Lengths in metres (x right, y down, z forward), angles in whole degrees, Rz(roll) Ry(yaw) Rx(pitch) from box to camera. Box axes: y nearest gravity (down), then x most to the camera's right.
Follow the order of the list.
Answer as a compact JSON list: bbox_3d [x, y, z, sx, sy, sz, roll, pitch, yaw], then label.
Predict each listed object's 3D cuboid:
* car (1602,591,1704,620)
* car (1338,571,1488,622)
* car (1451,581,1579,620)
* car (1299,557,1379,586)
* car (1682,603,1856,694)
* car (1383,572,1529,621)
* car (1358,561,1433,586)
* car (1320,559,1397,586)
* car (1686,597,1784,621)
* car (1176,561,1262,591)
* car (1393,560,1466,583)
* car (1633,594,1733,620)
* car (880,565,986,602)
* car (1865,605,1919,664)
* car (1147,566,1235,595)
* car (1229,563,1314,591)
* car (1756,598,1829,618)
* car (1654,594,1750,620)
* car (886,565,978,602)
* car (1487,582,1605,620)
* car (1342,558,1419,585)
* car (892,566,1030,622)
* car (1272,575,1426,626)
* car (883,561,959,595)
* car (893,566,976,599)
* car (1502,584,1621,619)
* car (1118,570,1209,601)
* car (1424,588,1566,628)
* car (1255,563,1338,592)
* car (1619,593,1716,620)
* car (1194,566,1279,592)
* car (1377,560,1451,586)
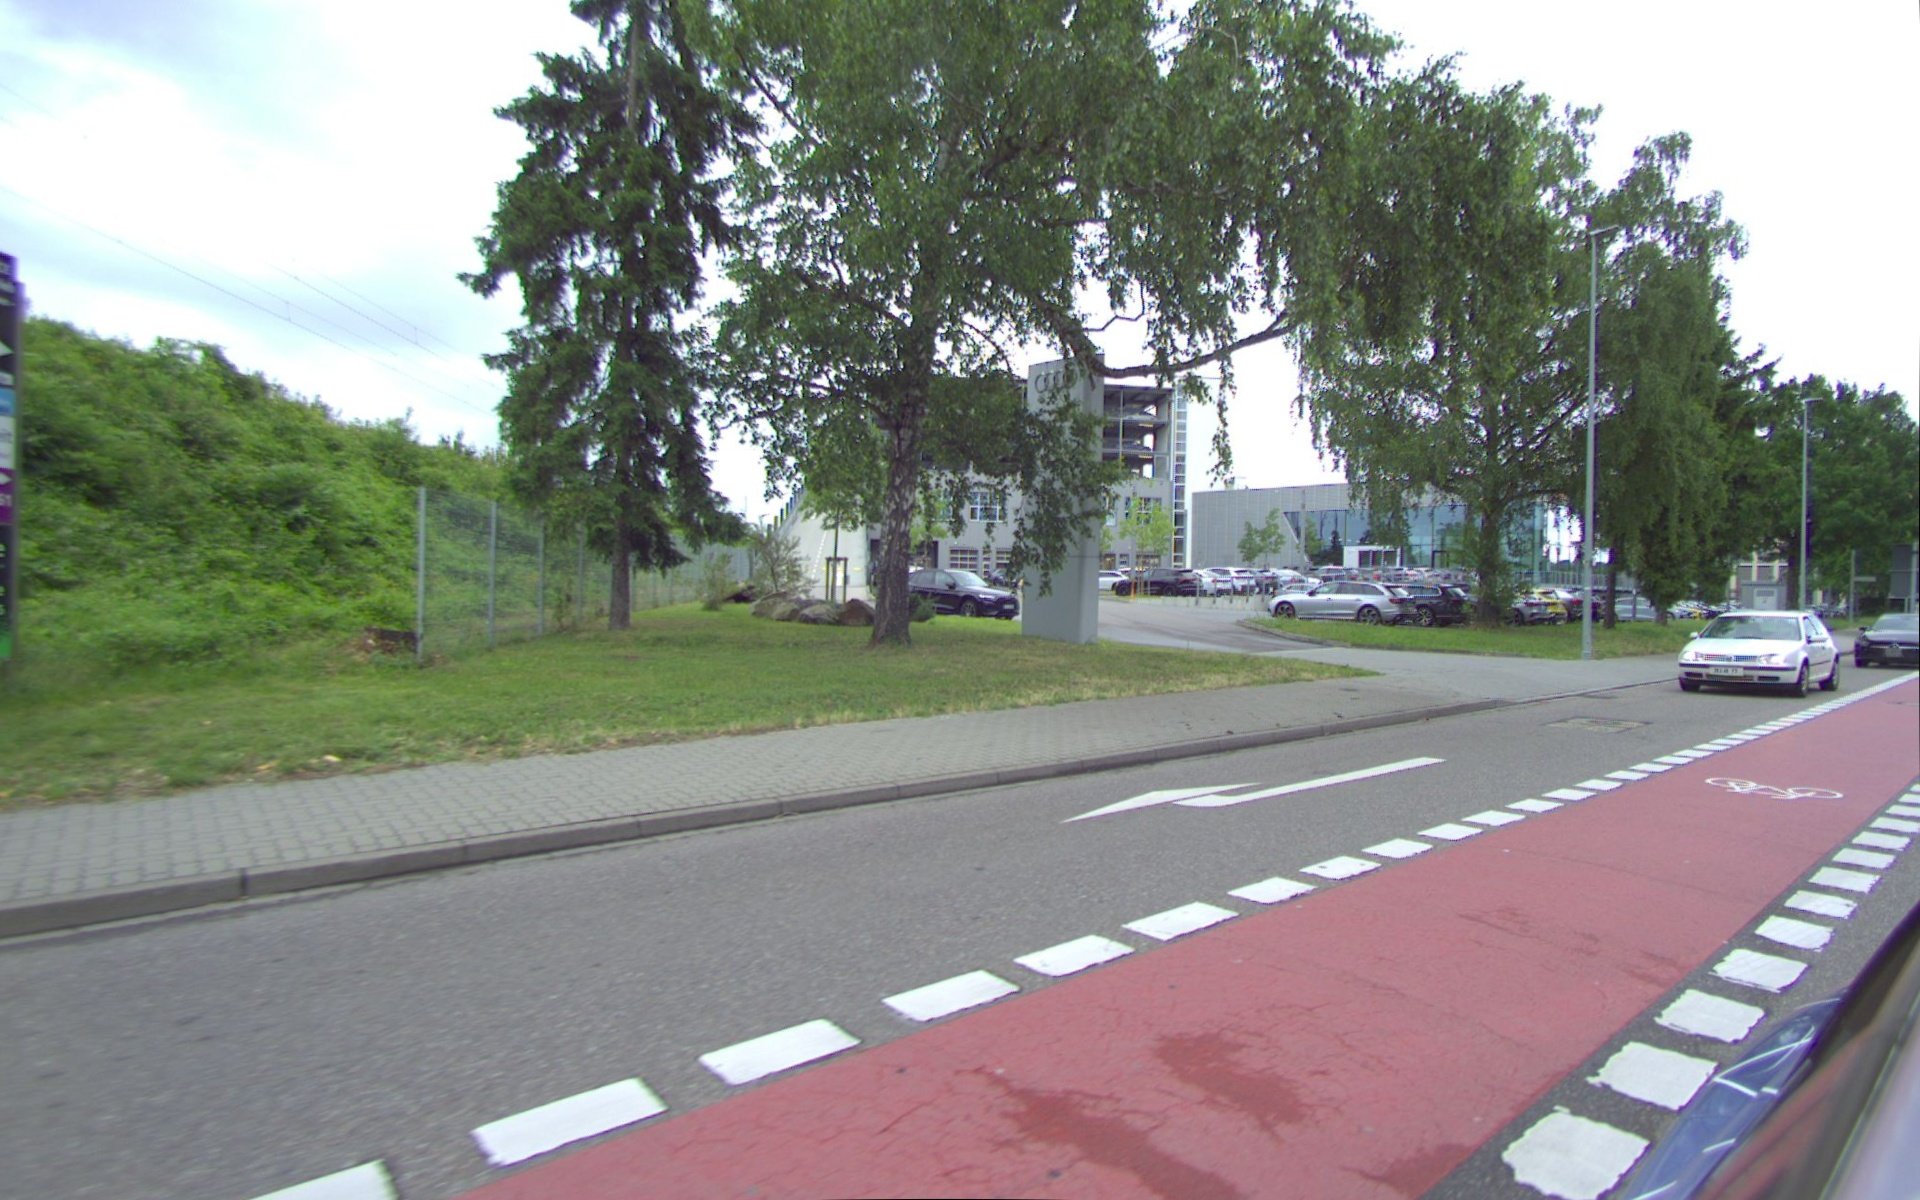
[{"bbox_3d":[37.211,0.309,54.404,1.708,1.450,4.194,1,-2,-41],"label":"car"},{"bbox_3d":[15.585,-0.059,34.948,1.936,1.622,4.301,1,-2,-42],"label":"car"},{"bbox_3d":[21.575,0.045,39.484,1.777,1.397,4.003,1,-2,-38],"label":"car"},{"bbox_3d":[23.659,-1.749,63.306,1.827,1.547,4.302,1,-2,-42],"label":"car"},{"bbox_3d":[14.422,0.785,17.980,3.871,1.442,1.725,1,0,-40],"label":"car"},{"bbox_3d":[17.790,-0.089,36.443,1.934,1.622,4.305,1,-2,-39],"label":"car"},{"bbox_3d":[29.365,-1.757,68.343,1.833,1.451,4.302,1,-2,-42],"label":"car"},{"bbox_3d":[25.631,-1.751,65.187,1.801,1.545,4.302,1,-2,-42],"label":"car"},{"bbox_3d":[50.248,0.595,65.708,1.869,1.442,4.758,1,-2,-41],"label":"car"},{"bbox_3d":[14.041,-1.274,55.066,1.671,1.400,4.302,1,-2,-42],"label":"car"},{"bbox_3d":[33.289,-2.017,71.796,1.801,1.381,4.302,1,-2,-42],"label":"car"},{"bbox_3d":[40.856,0.402,57.235,1.708,1.375,4.304,1,-2,-41],"label":"car"},{"bbox_3d":[-1.274,-0.738,45.980,4.579,1.587,1.907,0,-2,-8],"label":"car"},{"bbox_3d":[25.070,0.871,26.331,3.930,1.442,1.835,1,0,-41],"label":"car"},{"bbox_3d":[12.086,-0.986,53.140,1.801,1.307,4.302,1,-2,-42],"label":"car"},{"bbox_3d":[17.630,-1.274,57.390,1.801,1.390,4.302,1,-2,-42],"label":"car"},{"bbox_3d":[62.925,0.642,76.530,1.697,1.410,4.037,1,-2,-41],"label":"car"},{"bbox_3d":[44.492,0.456,60.754,1.811,1.463,4.304,1,-2,-41],"label":"car"},{"bbox_3d":[-1.374,-0.770,48.329,4.224,1.674,1.971,0,-2,-6],"label":"car"},{"bbox_3d":[23.827,0.083,41.217,1.919,1.442,3.756,1,-2,-41],"label":"car"},{"bbox_3d":[27.662,-1.860,66.643,1.801,1.531,4.302,1,-2,-42],"label":"car"},{"bbox_3d":[-0.016,-0.243,32.684,4.298,1.608,1.938,3,2,44],"label":"car"},{"bbox_3d":[12.444,-0.009,32.558,4.298,1.508,1.712,1,0,44],"label":"car"},{"bbox_3d":[-2.253,-1.245,58.109,4.224,1.828,1.971,0,-2,-6],"label":"car"},{"bbox_3d":[-1.384,-0.914,53.488,4.224,1.683,1.971,0,-2,-6],"label":"car"},{"bbox_3d":[25.666,0.093,43.274,1.868,1.371,3.999,1,-2,-39],"label":"car"},{"bbox_3d":[10.345,-0.697,51.639,1.801,1.391,4.302,1,-2,-42],"label":"car"},{"bbox_3d":[19.918,0.347,37.846,1.868,1.400,4.305,1,-2,-39],"label":"car"},{"bbox_3d":[19.932,-1.307,60.085,1.801,1.555,4.302,1,-2,-42],"label":"car"},{"bbox_3d":[39.051,0.391,55.912,1.763,1.395,4.053,1,-2,-40],"label":"car"},{"bbox_3d":[15.427,-1.141,56.593,1.801,1.263,4.302,1,-2,-42],"label":"car"},{"bbox_3d":[31.375,-1.832,70.037,1.861,1.612,4.306,1,-2,-39],"label":"car"}]
